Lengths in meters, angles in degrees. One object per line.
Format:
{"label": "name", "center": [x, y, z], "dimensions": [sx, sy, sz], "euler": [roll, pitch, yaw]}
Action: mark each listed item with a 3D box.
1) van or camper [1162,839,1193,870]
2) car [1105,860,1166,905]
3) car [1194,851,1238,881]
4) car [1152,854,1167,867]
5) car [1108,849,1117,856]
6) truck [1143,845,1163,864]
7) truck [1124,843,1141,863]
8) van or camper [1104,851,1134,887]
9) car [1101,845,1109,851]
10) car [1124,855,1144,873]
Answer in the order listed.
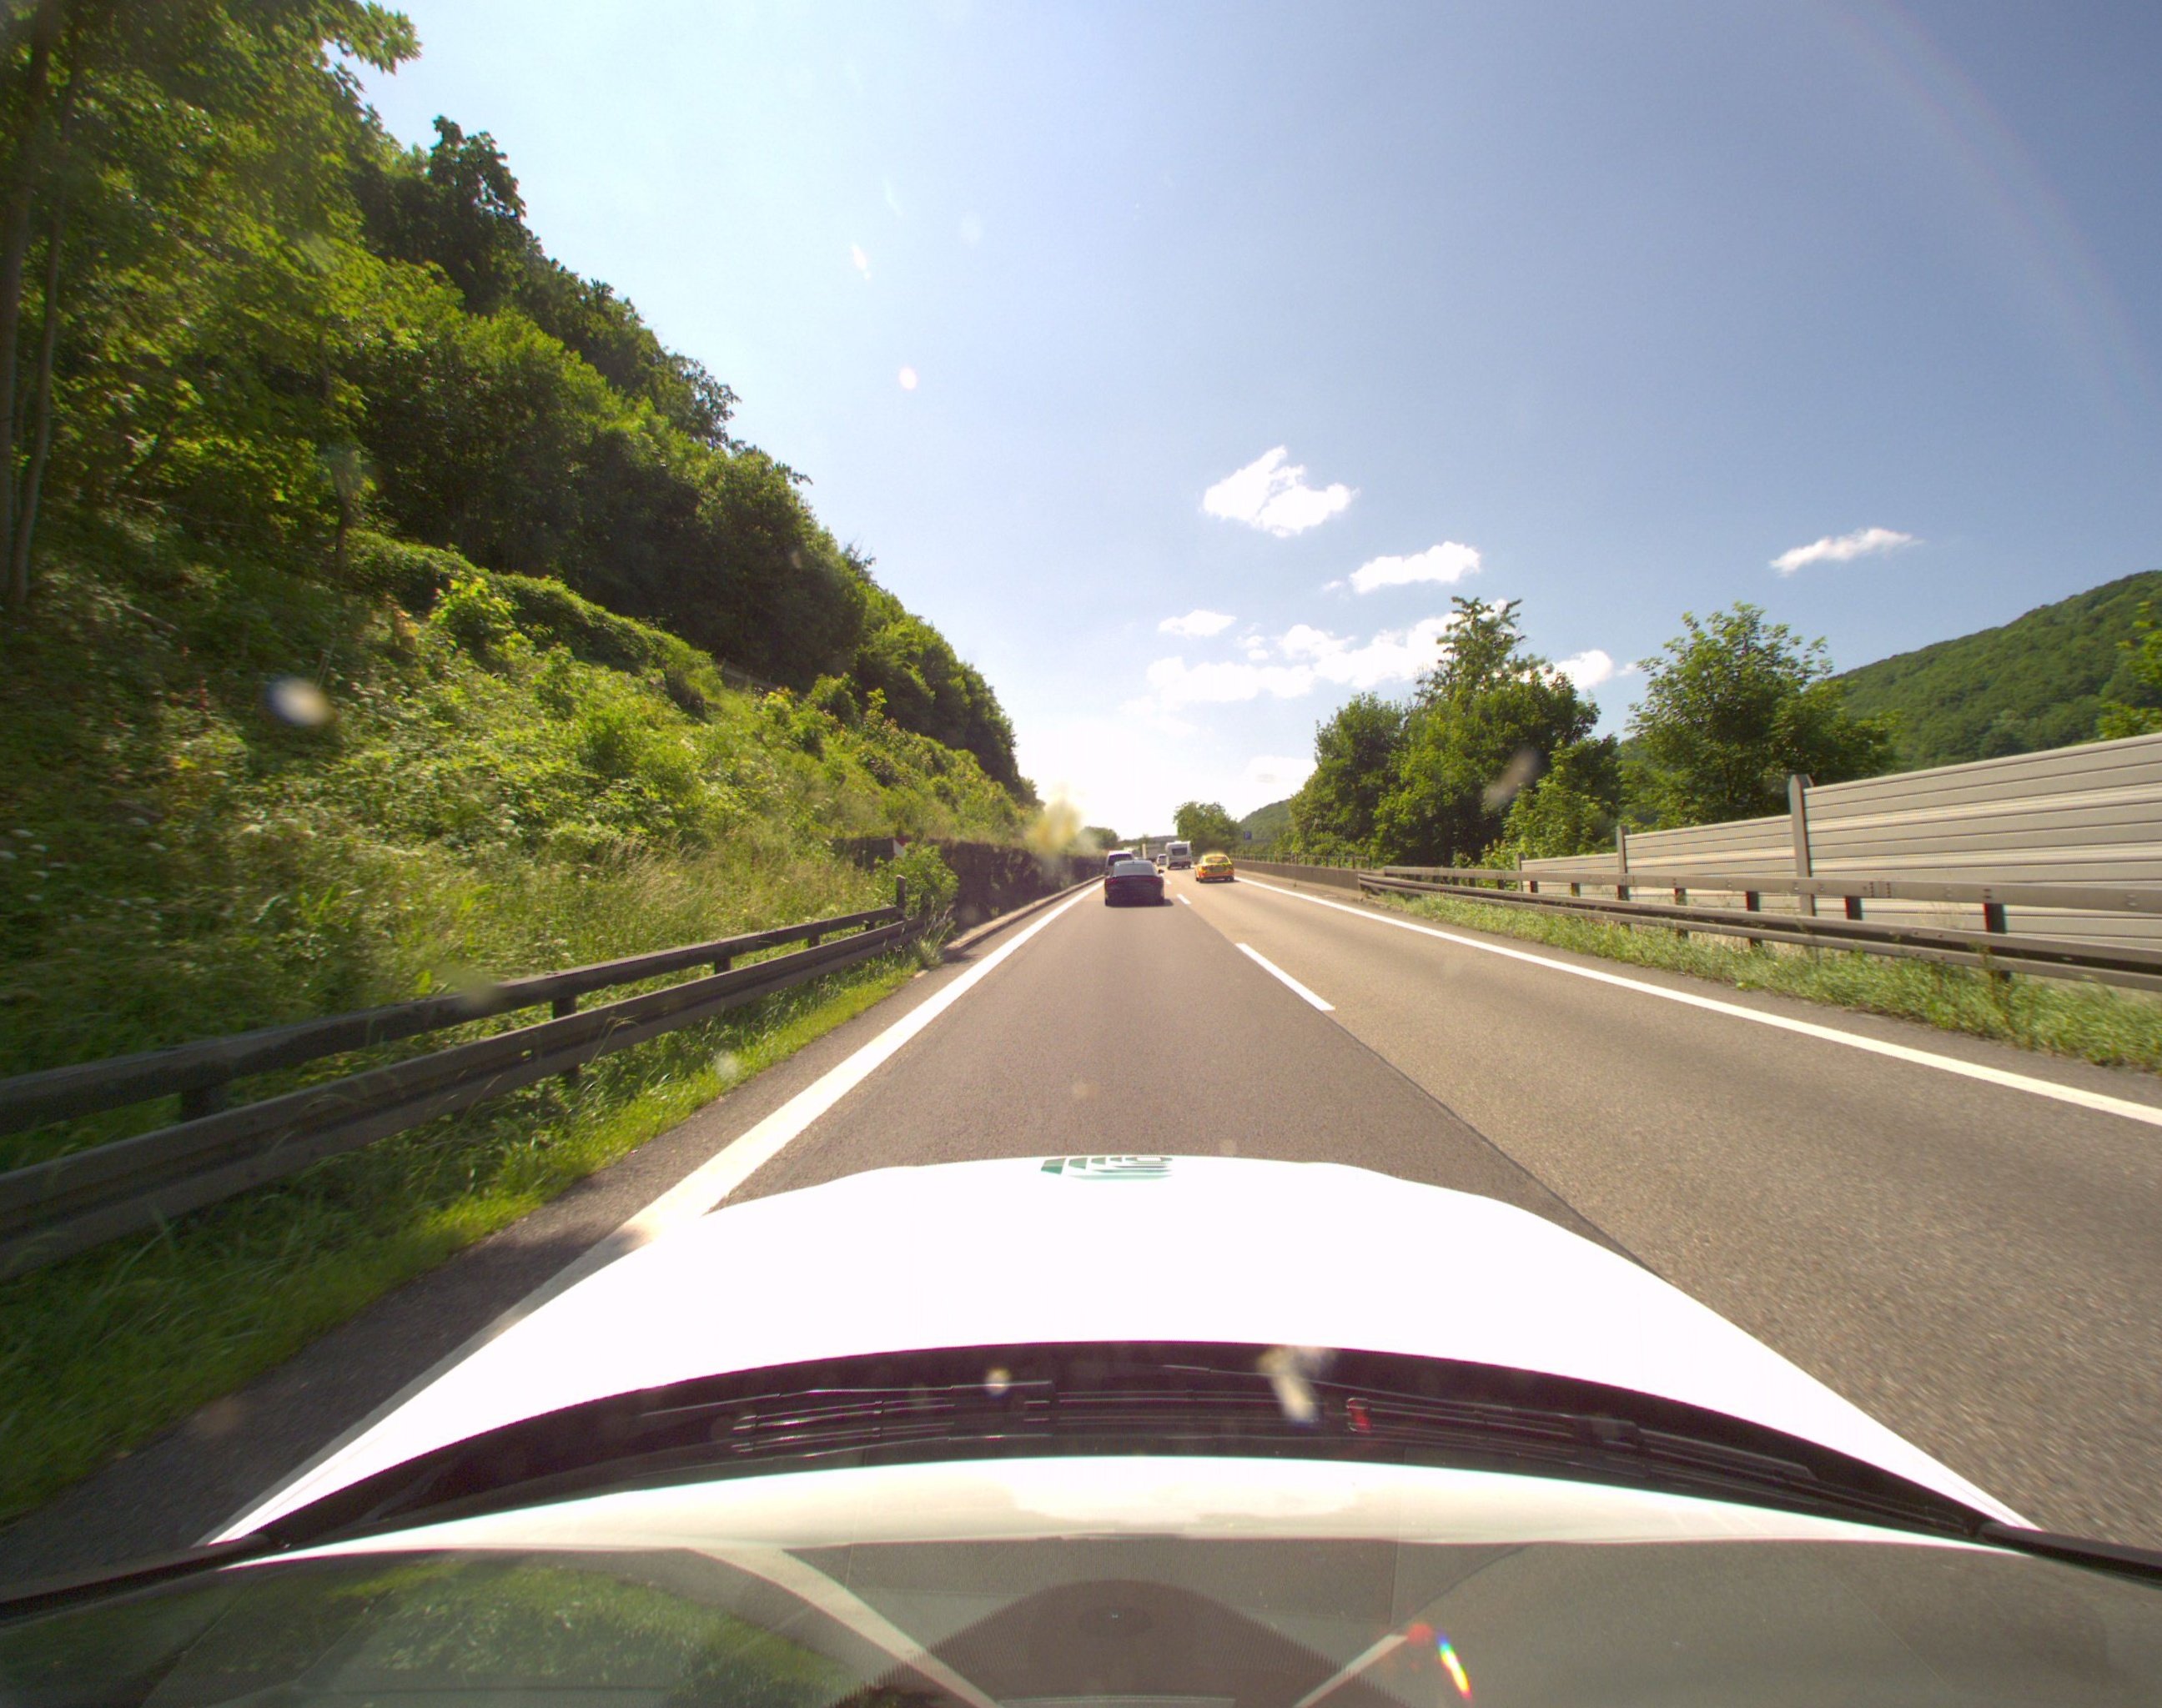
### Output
{"label": "van or camper", "center": [9.432, 0.099, 80.217], "dimensions": [2.446, 2.918, 6.128], "euler": [-1, -1, 2]}
{"label": "car", "center": [1.745, 0.899, 26.805], "dimensions": [1.830, 1.349, 4.002], "euler": [-1, -1, 2]}
{"label": "car", "center": [7.117, 0.660, 43.302], "dimensions": [1.855, 1.488, 4.003], "euler": [-1, -1, 3]}
{"label": "car", "center": [10.645, 0.856, 110.923], "dimensions": [1.833, 1.717, 4.004], "euler": [-1, 0, 4]}
{"label": "car", "center": [8.781, -0.412, 225.354], "dimensions": [1.990, 2.013, 3.993], "euler": [-1, 0, -5]}
{"label": "truck", "center": [12.313, 0.163, 139.794], "dimensions": [2.830, 3.131, 7.482], "euler": [-1, 0, 2]}
{"label": "truck", "center": [10.908, -0.218, 173.067], "dimensions": [2.727, 4.096, 7.469], "euler": [-1, 0, -4]}
{"label": "van or camper", "center": [2.007, 0.793, 43.692], "dimensions": [1.387, 1.816, 3.999], "euler": [-1, -1, 0]}
{"label": "car", "center": [7.348, -1.860, 251.790], "dimensions": [1.990, 2.013, 3.993], "euler": [-1, 0, -5]}
{"label": "car", "center": [4.972, 0.896, 76.825], "dimensions": [1.767, 1.637, 4.001], "euler": [-1, 0, 1]}
